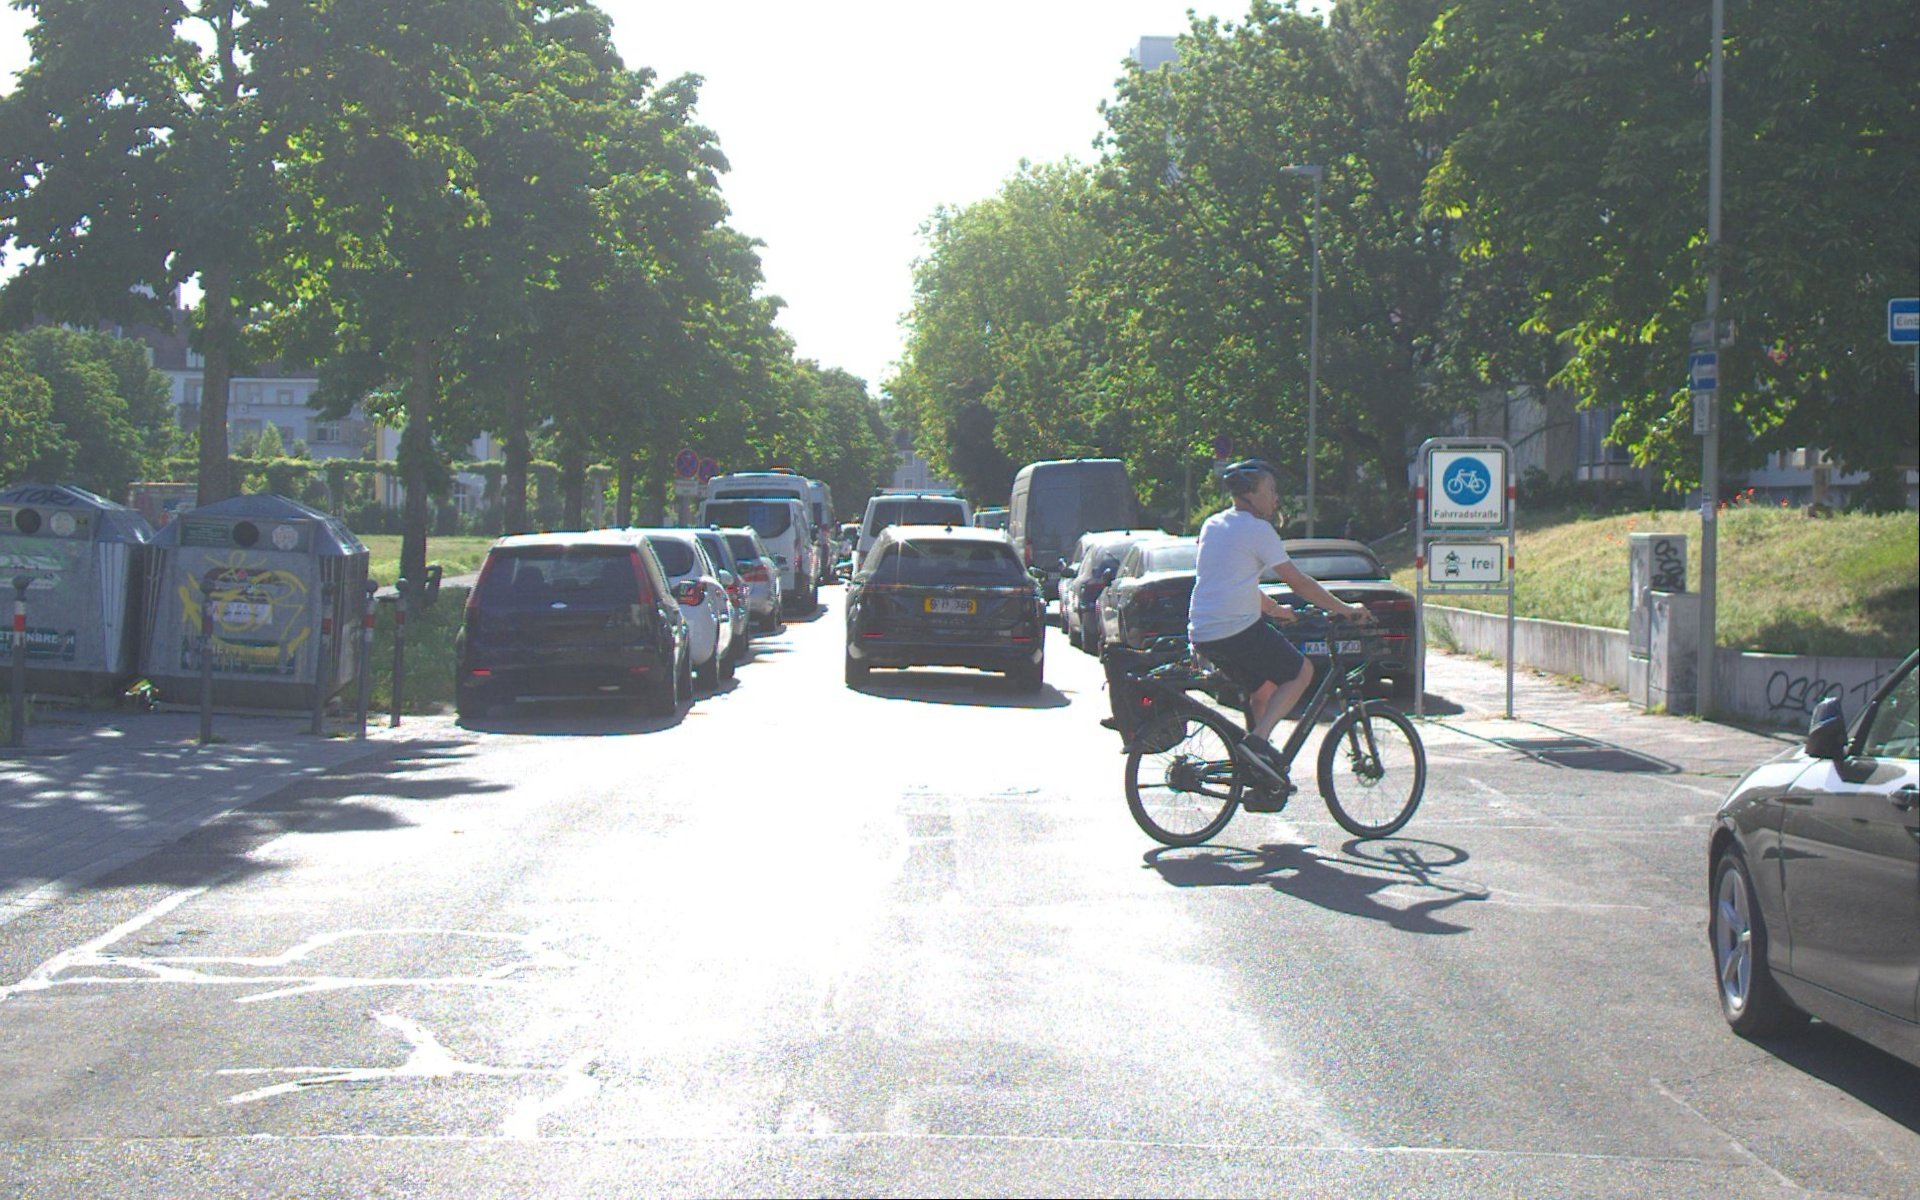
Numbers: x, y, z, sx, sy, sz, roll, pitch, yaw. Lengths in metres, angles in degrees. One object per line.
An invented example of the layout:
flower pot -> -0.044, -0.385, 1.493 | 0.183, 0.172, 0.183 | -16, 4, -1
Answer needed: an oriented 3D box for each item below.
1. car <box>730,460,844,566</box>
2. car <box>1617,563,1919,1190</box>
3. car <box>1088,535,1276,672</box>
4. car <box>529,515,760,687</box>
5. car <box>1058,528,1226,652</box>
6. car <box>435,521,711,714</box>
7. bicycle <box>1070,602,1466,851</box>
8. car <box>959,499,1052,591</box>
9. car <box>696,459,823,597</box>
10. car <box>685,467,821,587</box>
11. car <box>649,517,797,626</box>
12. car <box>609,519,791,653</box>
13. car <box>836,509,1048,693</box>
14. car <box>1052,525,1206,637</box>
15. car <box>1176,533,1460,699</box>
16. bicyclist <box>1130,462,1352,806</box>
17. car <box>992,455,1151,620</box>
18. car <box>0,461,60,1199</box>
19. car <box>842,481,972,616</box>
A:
car -> -4.490, -2.286, 90.398 | 2.616, 2.636, 6.114 | 1, 1, 0
car -> 3.288, 0.667, 9.472 | 1.958, 1.476, 4.499 | -1, 1, -2
car -> 2.368, -0.007, 37.577 | 1.779, 1.366, 4.127 | 1, 1, 0
car -> -2.904, -0.017, 32.374 | 1.777, 1.490, 3.875 | -1, 1, 0
car -> 2.277, -0.163, 43.950 | 1.779, 1.482, 4.032 | 1, 1, -2
car -> -3.059, 0.112, 27.854 | 1.748, 1.420, 3.916 | -1, 1, 0
bicycle -> 1.470, 0.587, 16.415 | 1.759, 1.123, 0.663 | 1, 1, -23
car -> 1.143, -1.447, 88.637 | 2.162, 2.284, 5.266 | 1, 1, -1
car -> -3.750, -1.373, 64.956 | 2.098, 2.487, 4.127 | 1, 1, 0
car -> -3.483, -1.245, 58.548 | 2.098, 1.936, 4.127 | 1, 1, -1
car -> -3.406, -0.445, 50.095 | 1.833, 1.494, 4.127 | 1, 1, 0
car -> -2.996, -0.199, 40.301 | 1.779, 1.456, 4.127 | 1, 1, 0
car -> -0.141, -0.040, 31.713 | 1.779, 1.526, 4.000 | 2, 1, 0
car -> 2.362, -0.305, 49.008 | 1.988, 1.482, 4.127 | 1, 1, 0
car -> 3.202, 0.093, 31.628 | 2.125, 1.333, 4.506 | -2, 1, 0
bicyclist -> 1.328, 0.151, 16.341 | 0.788, 1.590, 0.696 | 1, 1, -23
car -> 1.850, -1.091, 59.103 | 2.162, 2.680, 5.417 | 1, 1, -4
car -> -2.955, 0.574, 5.711 | 1.756, 1.641, 4.287 | -1, 1, 0
car -> -0.785, -0.815, 53.280 | 1.894, 1.984, 4.010 | -1, 1, 0
